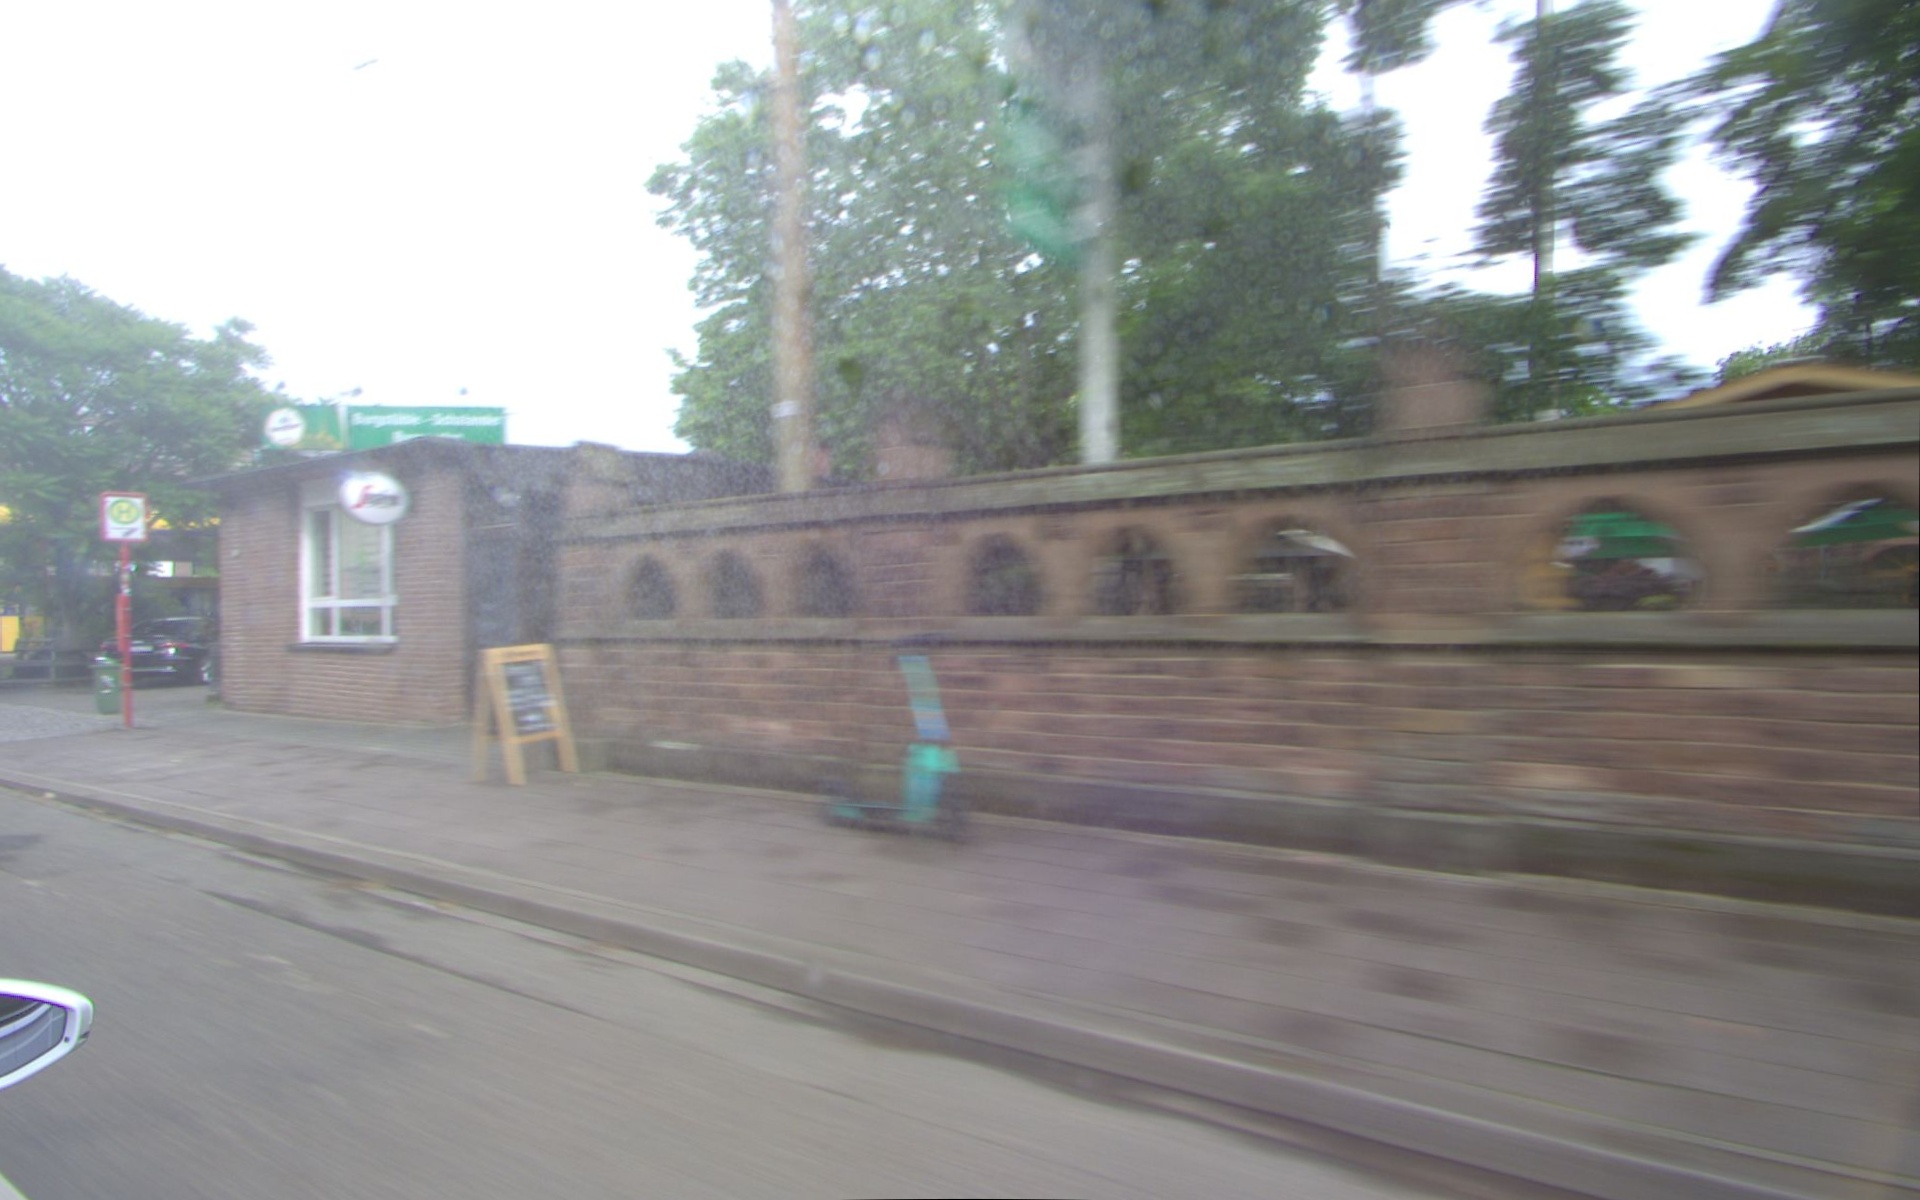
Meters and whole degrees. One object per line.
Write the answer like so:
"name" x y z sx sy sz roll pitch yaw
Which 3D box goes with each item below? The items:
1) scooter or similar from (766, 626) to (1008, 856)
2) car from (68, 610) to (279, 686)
"scooter or similar" -0.467 0.808 6.219 1.390 1.256 0.575 -1 3 33
"car" -17.133 0.977 22.143 1.900 1.426 4.578 0 0 -14
